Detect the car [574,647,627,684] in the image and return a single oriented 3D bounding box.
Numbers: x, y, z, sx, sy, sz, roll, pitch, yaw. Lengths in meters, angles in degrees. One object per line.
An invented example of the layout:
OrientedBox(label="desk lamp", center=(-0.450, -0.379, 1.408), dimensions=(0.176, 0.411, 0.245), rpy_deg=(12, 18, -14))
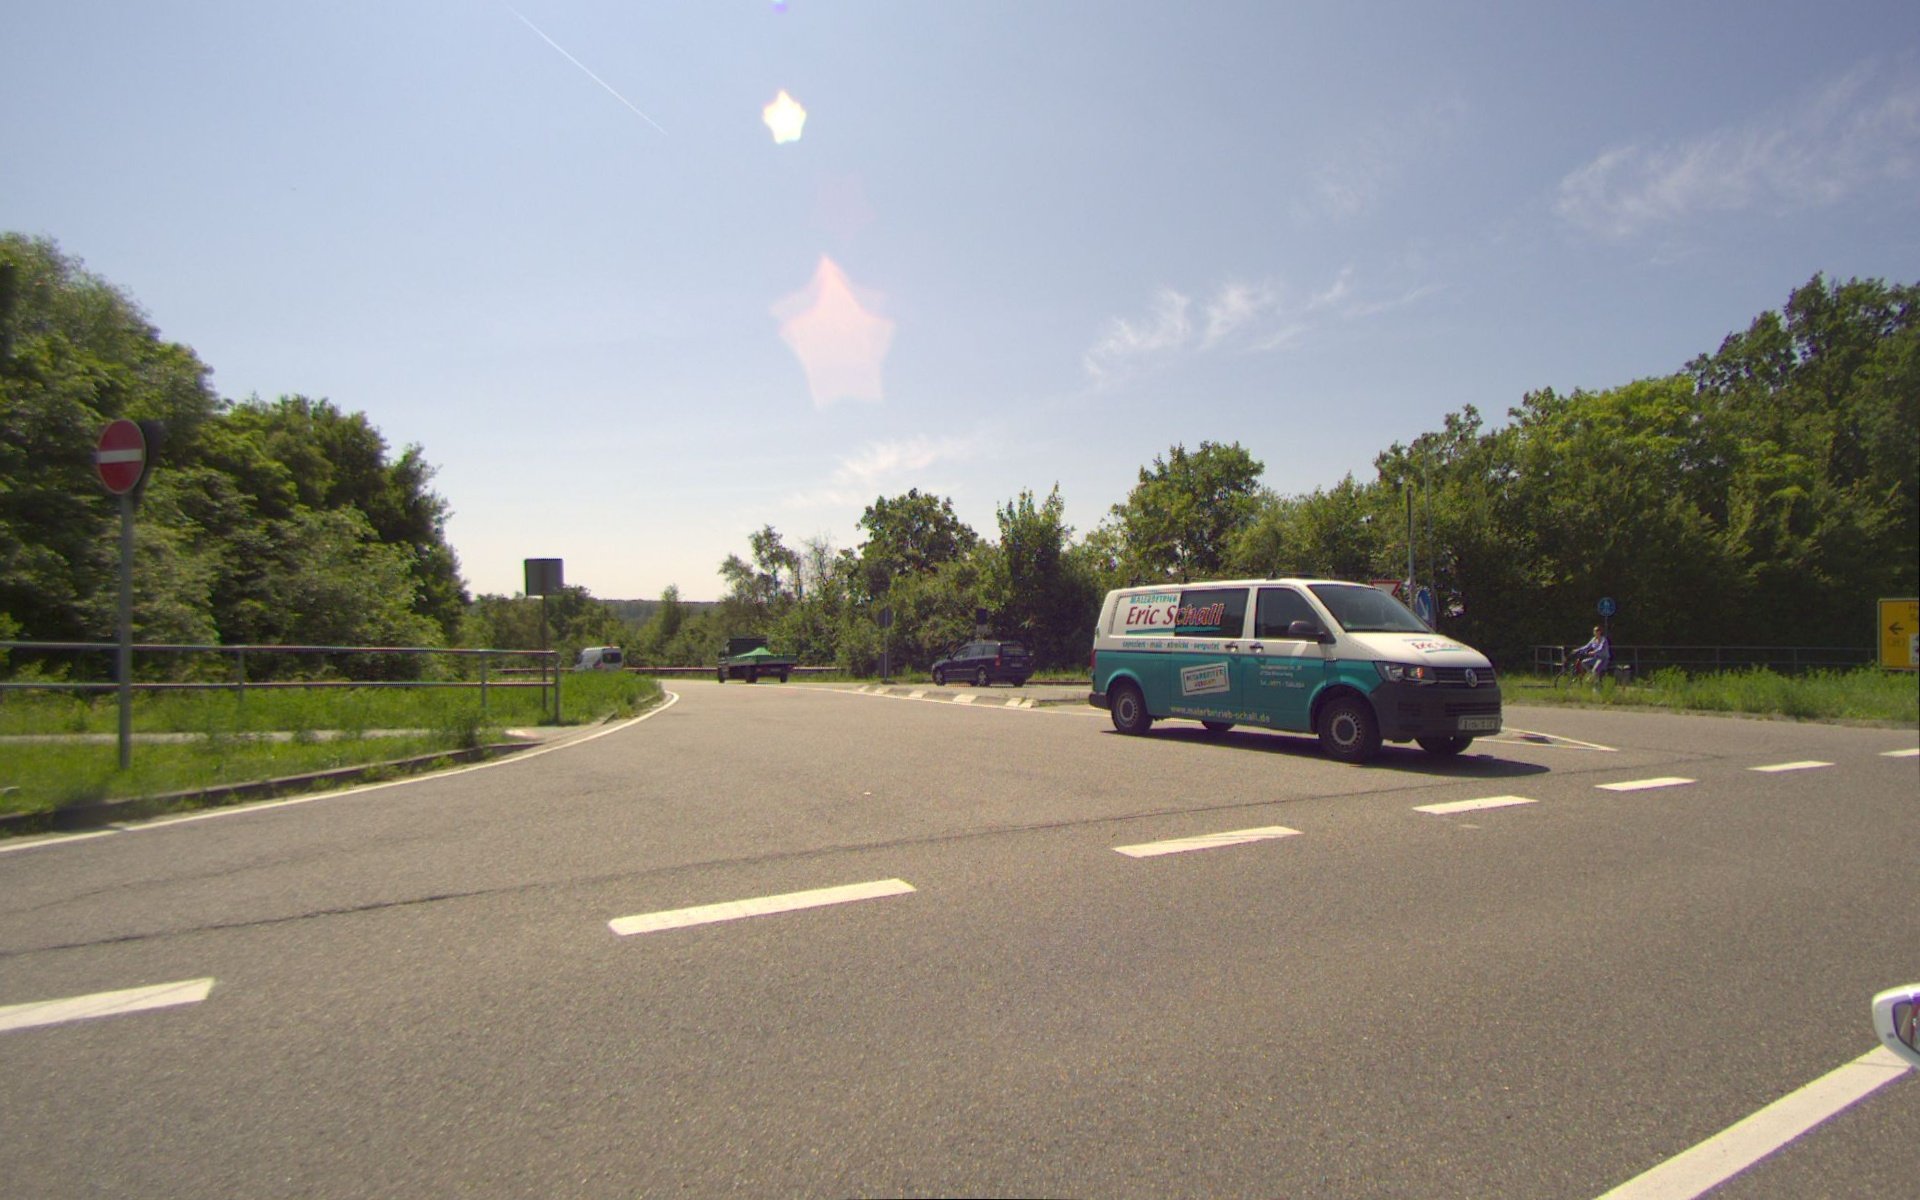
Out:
OrientedBox(label="car", center=(-28.958, 5.232, 80.778), dimensions=(2.094, 2.887, 5.945), rpy_deg=(2, -3, -39))

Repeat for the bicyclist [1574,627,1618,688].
OrientedBox(label="bicyclist", center=(14.804, 1.318, 23.398), dimensions=(0.597, 1.381, 0.690), rpy_deg=(1, -1, 5))

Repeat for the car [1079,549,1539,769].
OrientedBox(label="car", center=(3.812, 0.664, 12.091), dimensions=(1.978, 2.054, 5.144), rpy_deg=(1, -3, -31))

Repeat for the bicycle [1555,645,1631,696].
OrientedBox(label="bicycle", center=(14.745, 1.633, 23.400), dimensions=(1.452, 1.128, 0.437), rpy_deg=(1, -1, 5))

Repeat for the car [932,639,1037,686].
OrientedBox(label="car", center=(0.776, 2.070, 33.917), dimensions=(1.708, 1.476, 3.761), rpy_deg=(1, -2, -34))

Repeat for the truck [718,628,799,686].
OrientedBox(label="truck", center=(-10.212, 2.927, 50.486), dimensions=(2.120, 2.597, 6.592), rpy_deg=(2, -6, -29))
